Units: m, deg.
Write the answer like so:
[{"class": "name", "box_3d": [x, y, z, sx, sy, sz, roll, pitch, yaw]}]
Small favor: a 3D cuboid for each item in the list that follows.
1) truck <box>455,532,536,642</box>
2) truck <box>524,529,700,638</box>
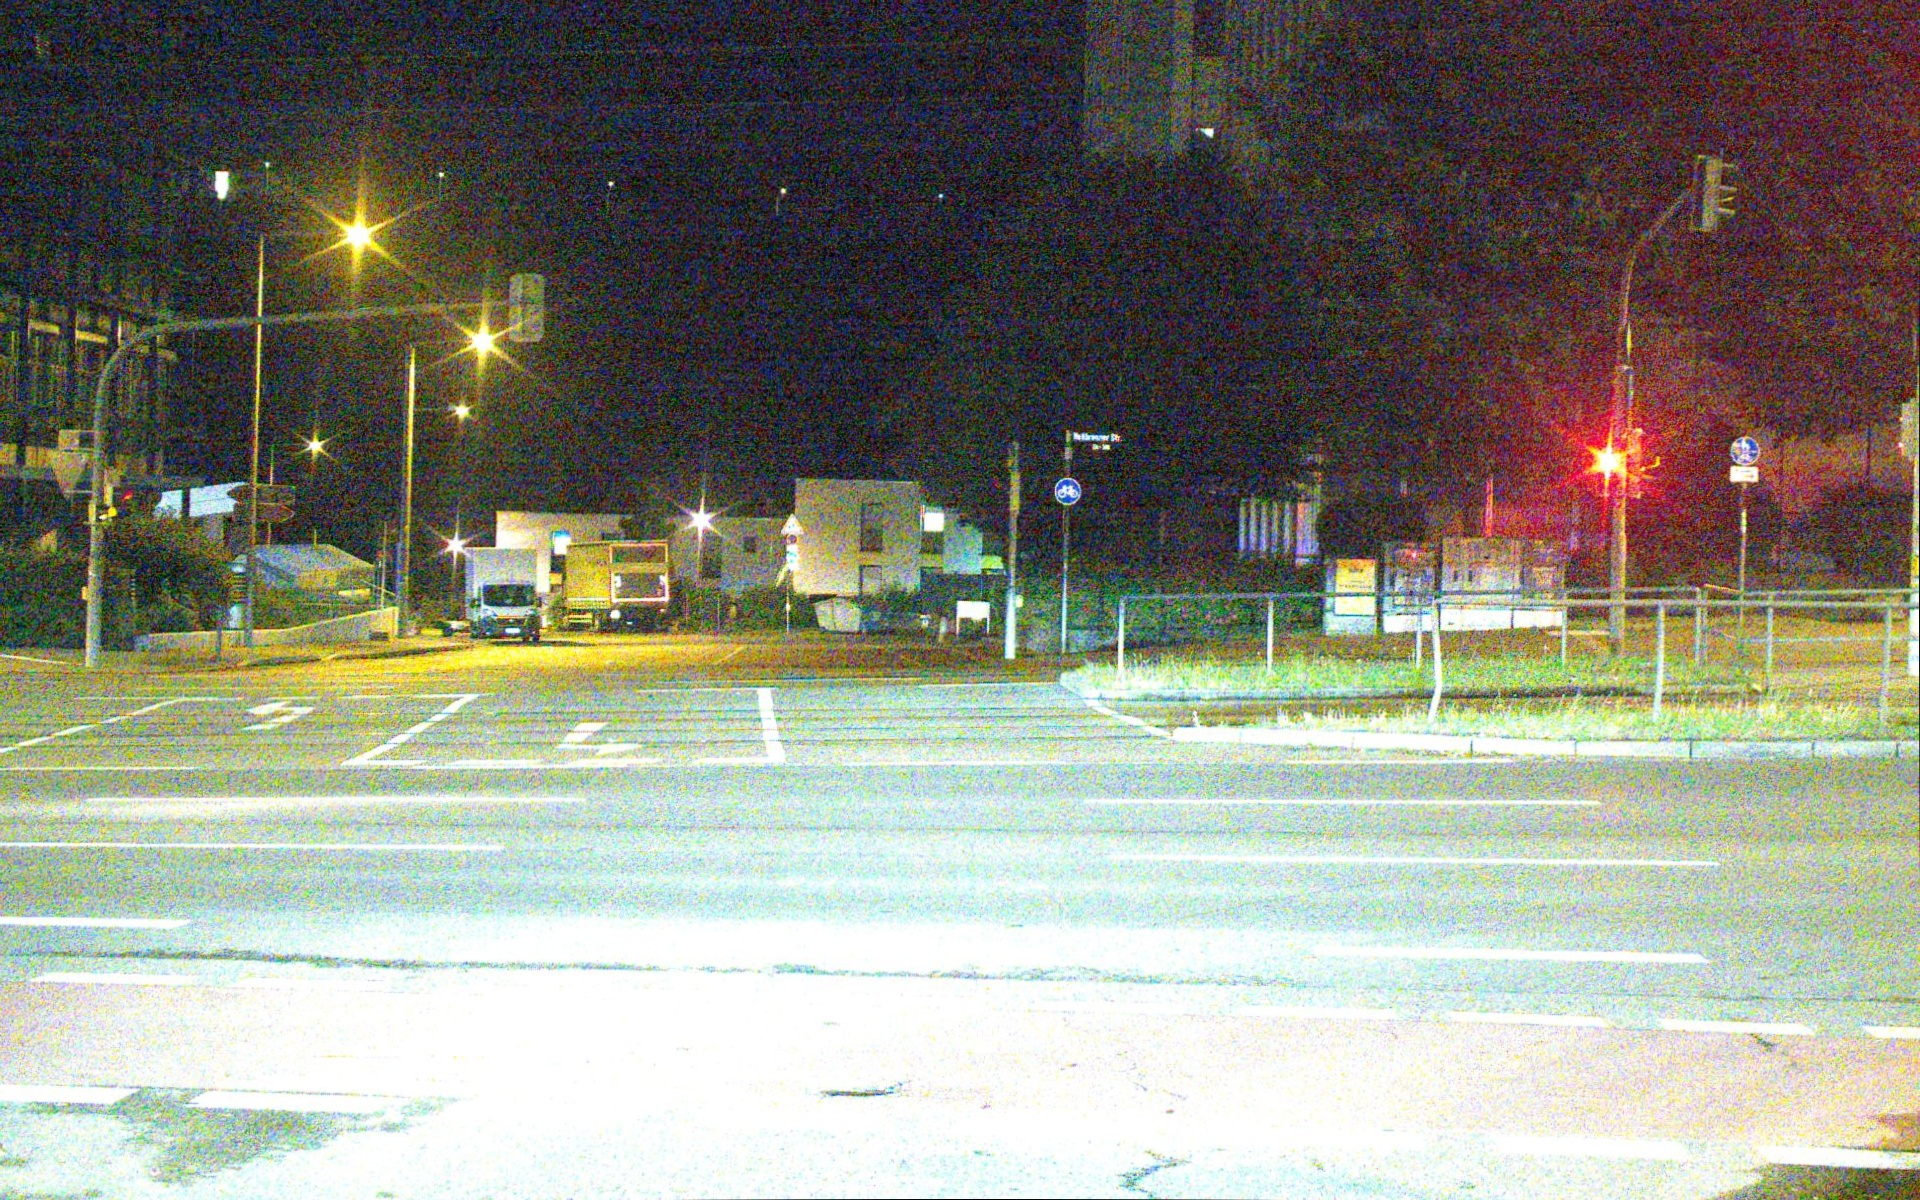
[{"class": "truck", "box_3d": [-16.117, -0.473, 119.026, 2.582, 3.694, 5.739, 1, 1, -9]}, {"class": "truck", "box_3d": [-15.445, -0.764, 151.235, 4.821, 4.531, 12.669, 1, 1, -19]}]
